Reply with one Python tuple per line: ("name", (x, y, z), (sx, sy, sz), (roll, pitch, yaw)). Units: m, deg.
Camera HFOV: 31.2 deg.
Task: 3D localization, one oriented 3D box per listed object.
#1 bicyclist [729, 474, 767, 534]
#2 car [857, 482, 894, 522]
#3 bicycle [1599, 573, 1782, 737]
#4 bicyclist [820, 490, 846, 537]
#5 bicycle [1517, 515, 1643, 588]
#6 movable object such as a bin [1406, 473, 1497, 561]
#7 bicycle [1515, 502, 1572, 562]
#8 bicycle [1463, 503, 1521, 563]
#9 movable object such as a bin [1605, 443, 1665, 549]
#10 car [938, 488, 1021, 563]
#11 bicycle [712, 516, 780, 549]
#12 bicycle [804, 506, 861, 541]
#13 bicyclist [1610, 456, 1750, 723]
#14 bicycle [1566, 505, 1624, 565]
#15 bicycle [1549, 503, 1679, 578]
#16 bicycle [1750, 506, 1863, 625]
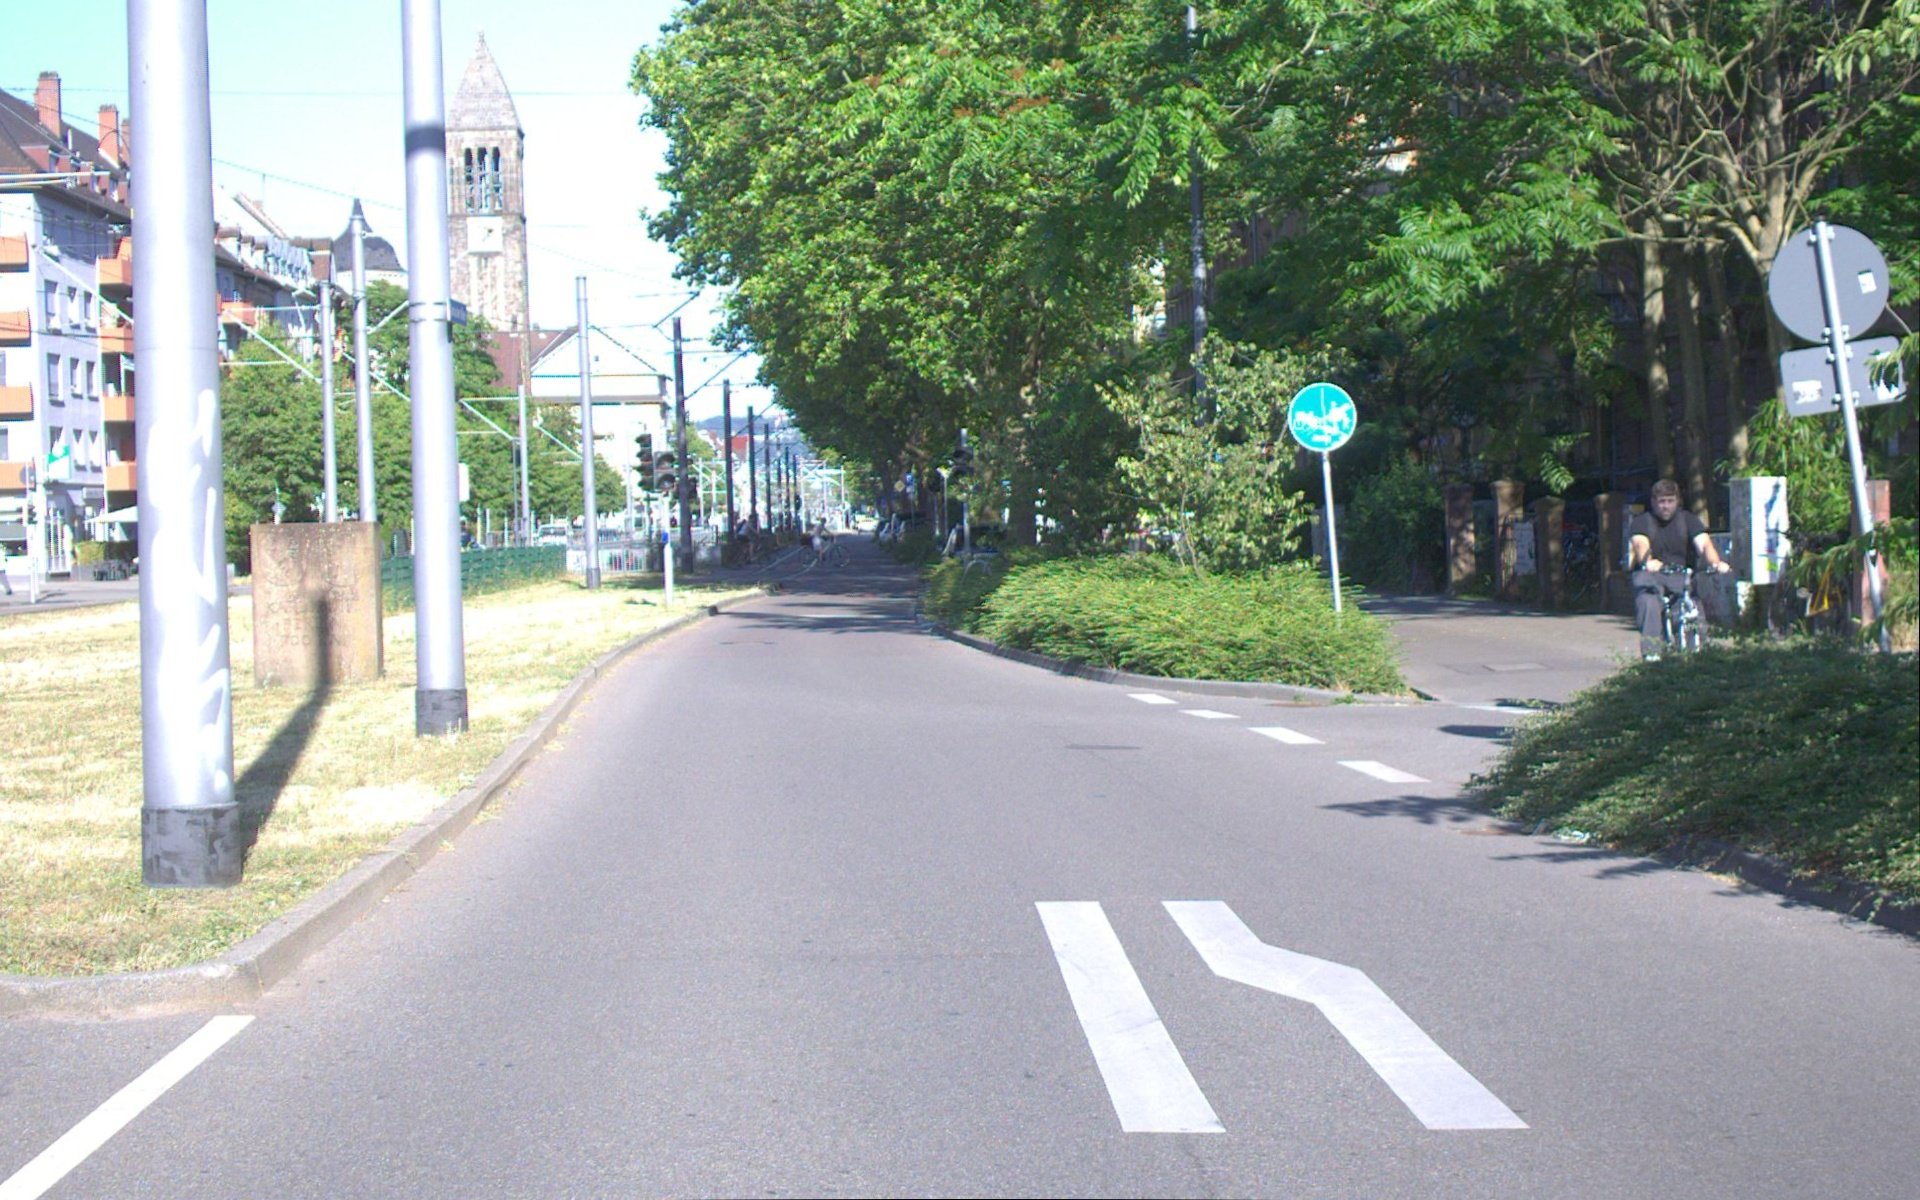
("bicyclist", (-7.070, -3.207, 114.658), (1.141, 1.884, 0.682), (-3, 4, -1))
("car", (-4.534, -5.270, 185.076), (1.993, 2.100, 4.000), (0, 1, -1))
("bicycle", (5.086, 0.358, 24.083), (0.641, 1.044, 2.360), (-3, 1, -2))
("bicyclist", (-4.326, -2.950, 116.949), (0.749, 1.552, 0.573), (-4, 4, -9))
("bicycle", (8.749, -0.686, 48.529), (1.652, 0.921, 0.539), (-3, 4, 0))
("movable object such as a bin", (8.162, -1.390, 57.126), (1.232, 1.377, 1.257), (-3, 2, -2))
("bicycle", (8.941, -1.045, 52.671), (0.768, 0.851, 0.375), (-3, 4, -4))
("bicycle", (8.140, -1.029, 52.611), (0.768, 0.851, 0.375), (-3, 4, -4))
("movable object such as a bin", (11.229, -1.732, 57.181), (0.754, 1.686, 0.743), (-3, 4, -4))
("car", (0.410, -1.656, 75.609), (1.643, 1.506, 4.183), (-3, 2, -1))
("bicycle", (-7.133, -2.257, 114.716), (2.241, 0.972, 0.682), (-2, 4, -2))
("bicycle", (-4.332, -2.602, 116.971), (1.814, 1.044, 0.573), (-4, 5, -9))
("bicyclist", (5.060, -0.082, 24.206), (0.641, 1.808, 1.052), (-3, 1, -2))
("bicycle", (9.733, -0.995, 52.684), (0.768, 0.851, 0.375), (-3, 4, -4))
("bicycle", (9.012, -0.826, 47.397), (1.652, 0.921, 0.539), (-3, 4, 0))
("bicycle", (8.009, -0.339, 32.566), (0.525, 0.985, 1.723), (-3, 5, -3))
